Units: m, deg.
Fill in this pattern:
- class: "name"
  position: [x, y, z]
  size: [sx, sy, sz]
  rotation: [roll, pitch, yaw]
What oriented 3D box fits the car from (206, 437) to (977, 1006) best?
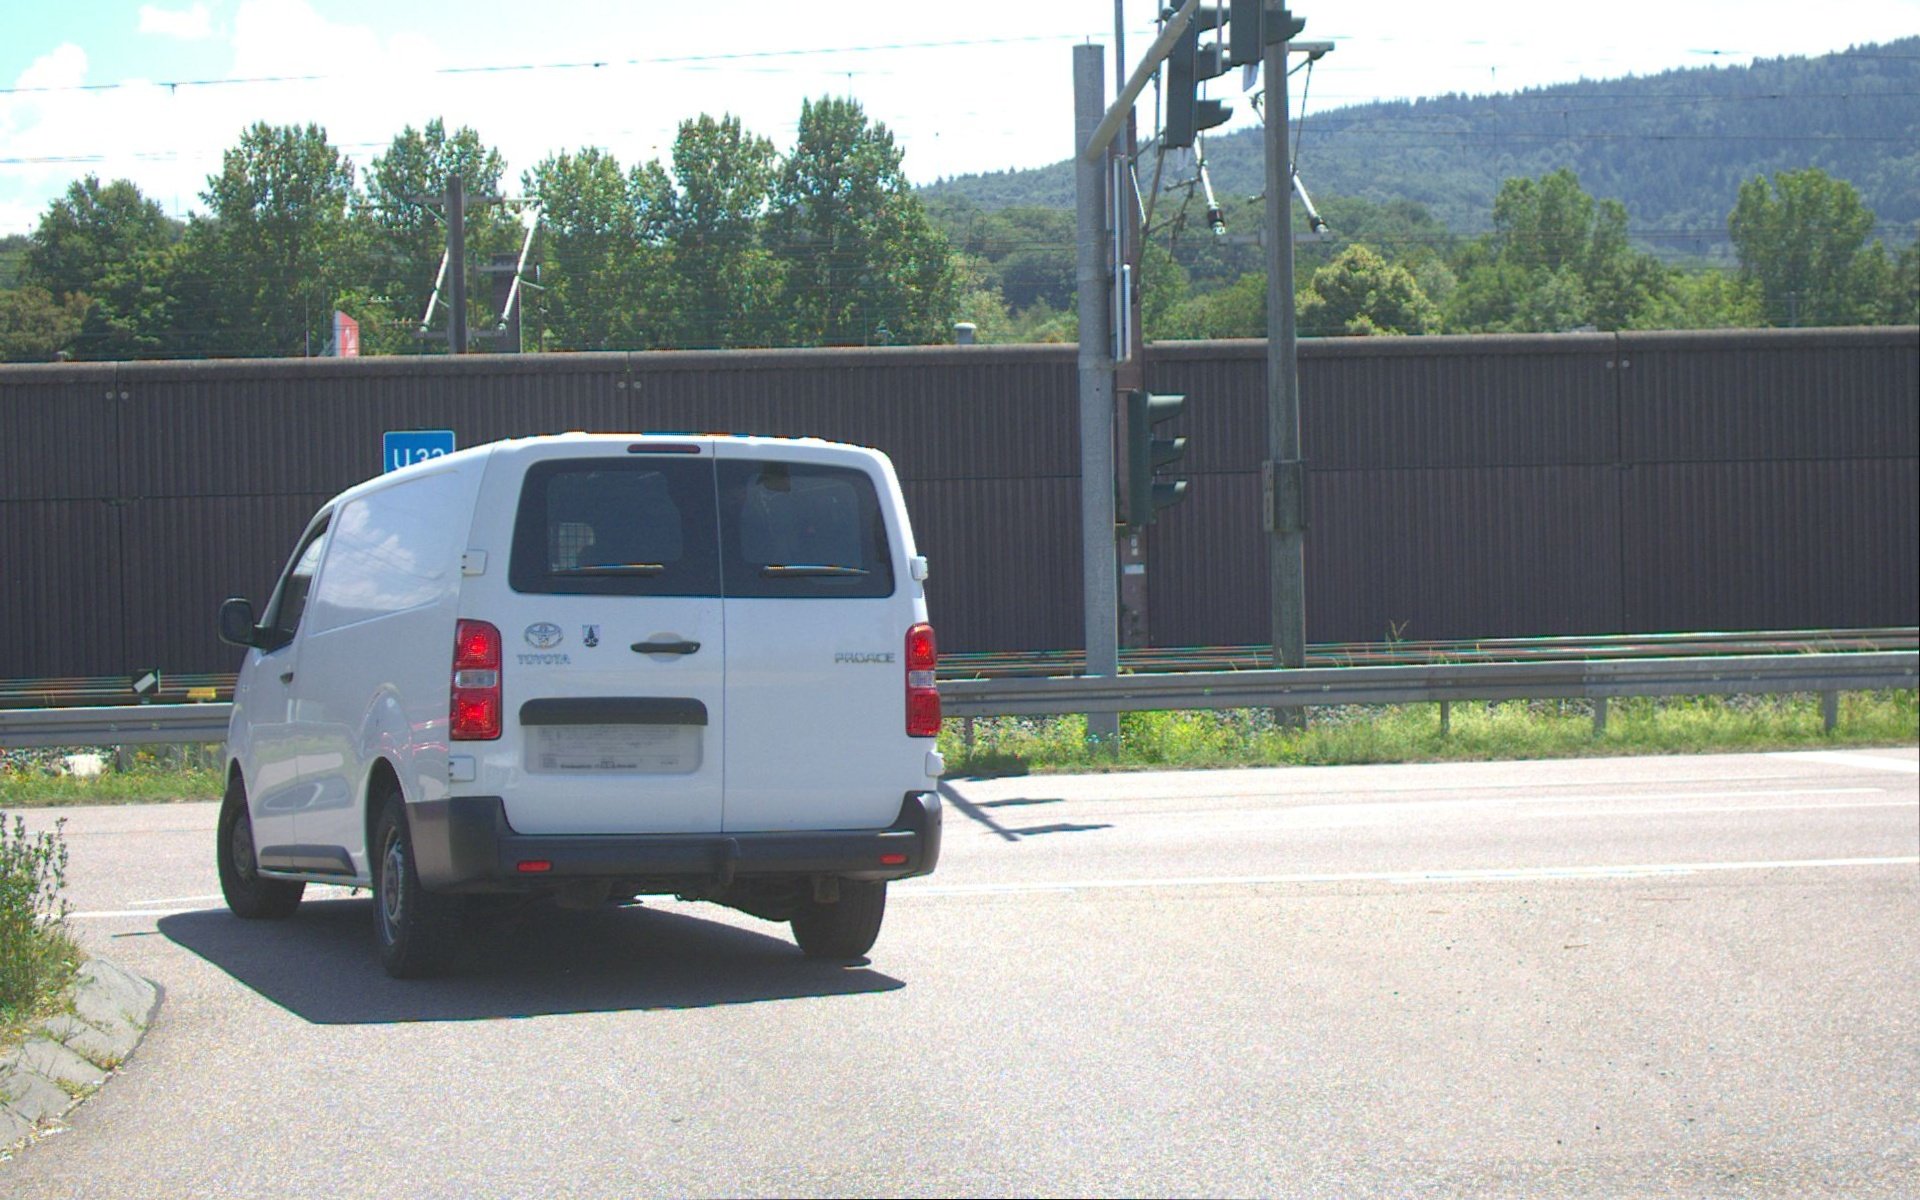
- class: "car"
  position: [-1.713, 0.424, 13.944]
  size: [1.945, 1.875, 4.882]
  rotation: [0, -1, -20]
